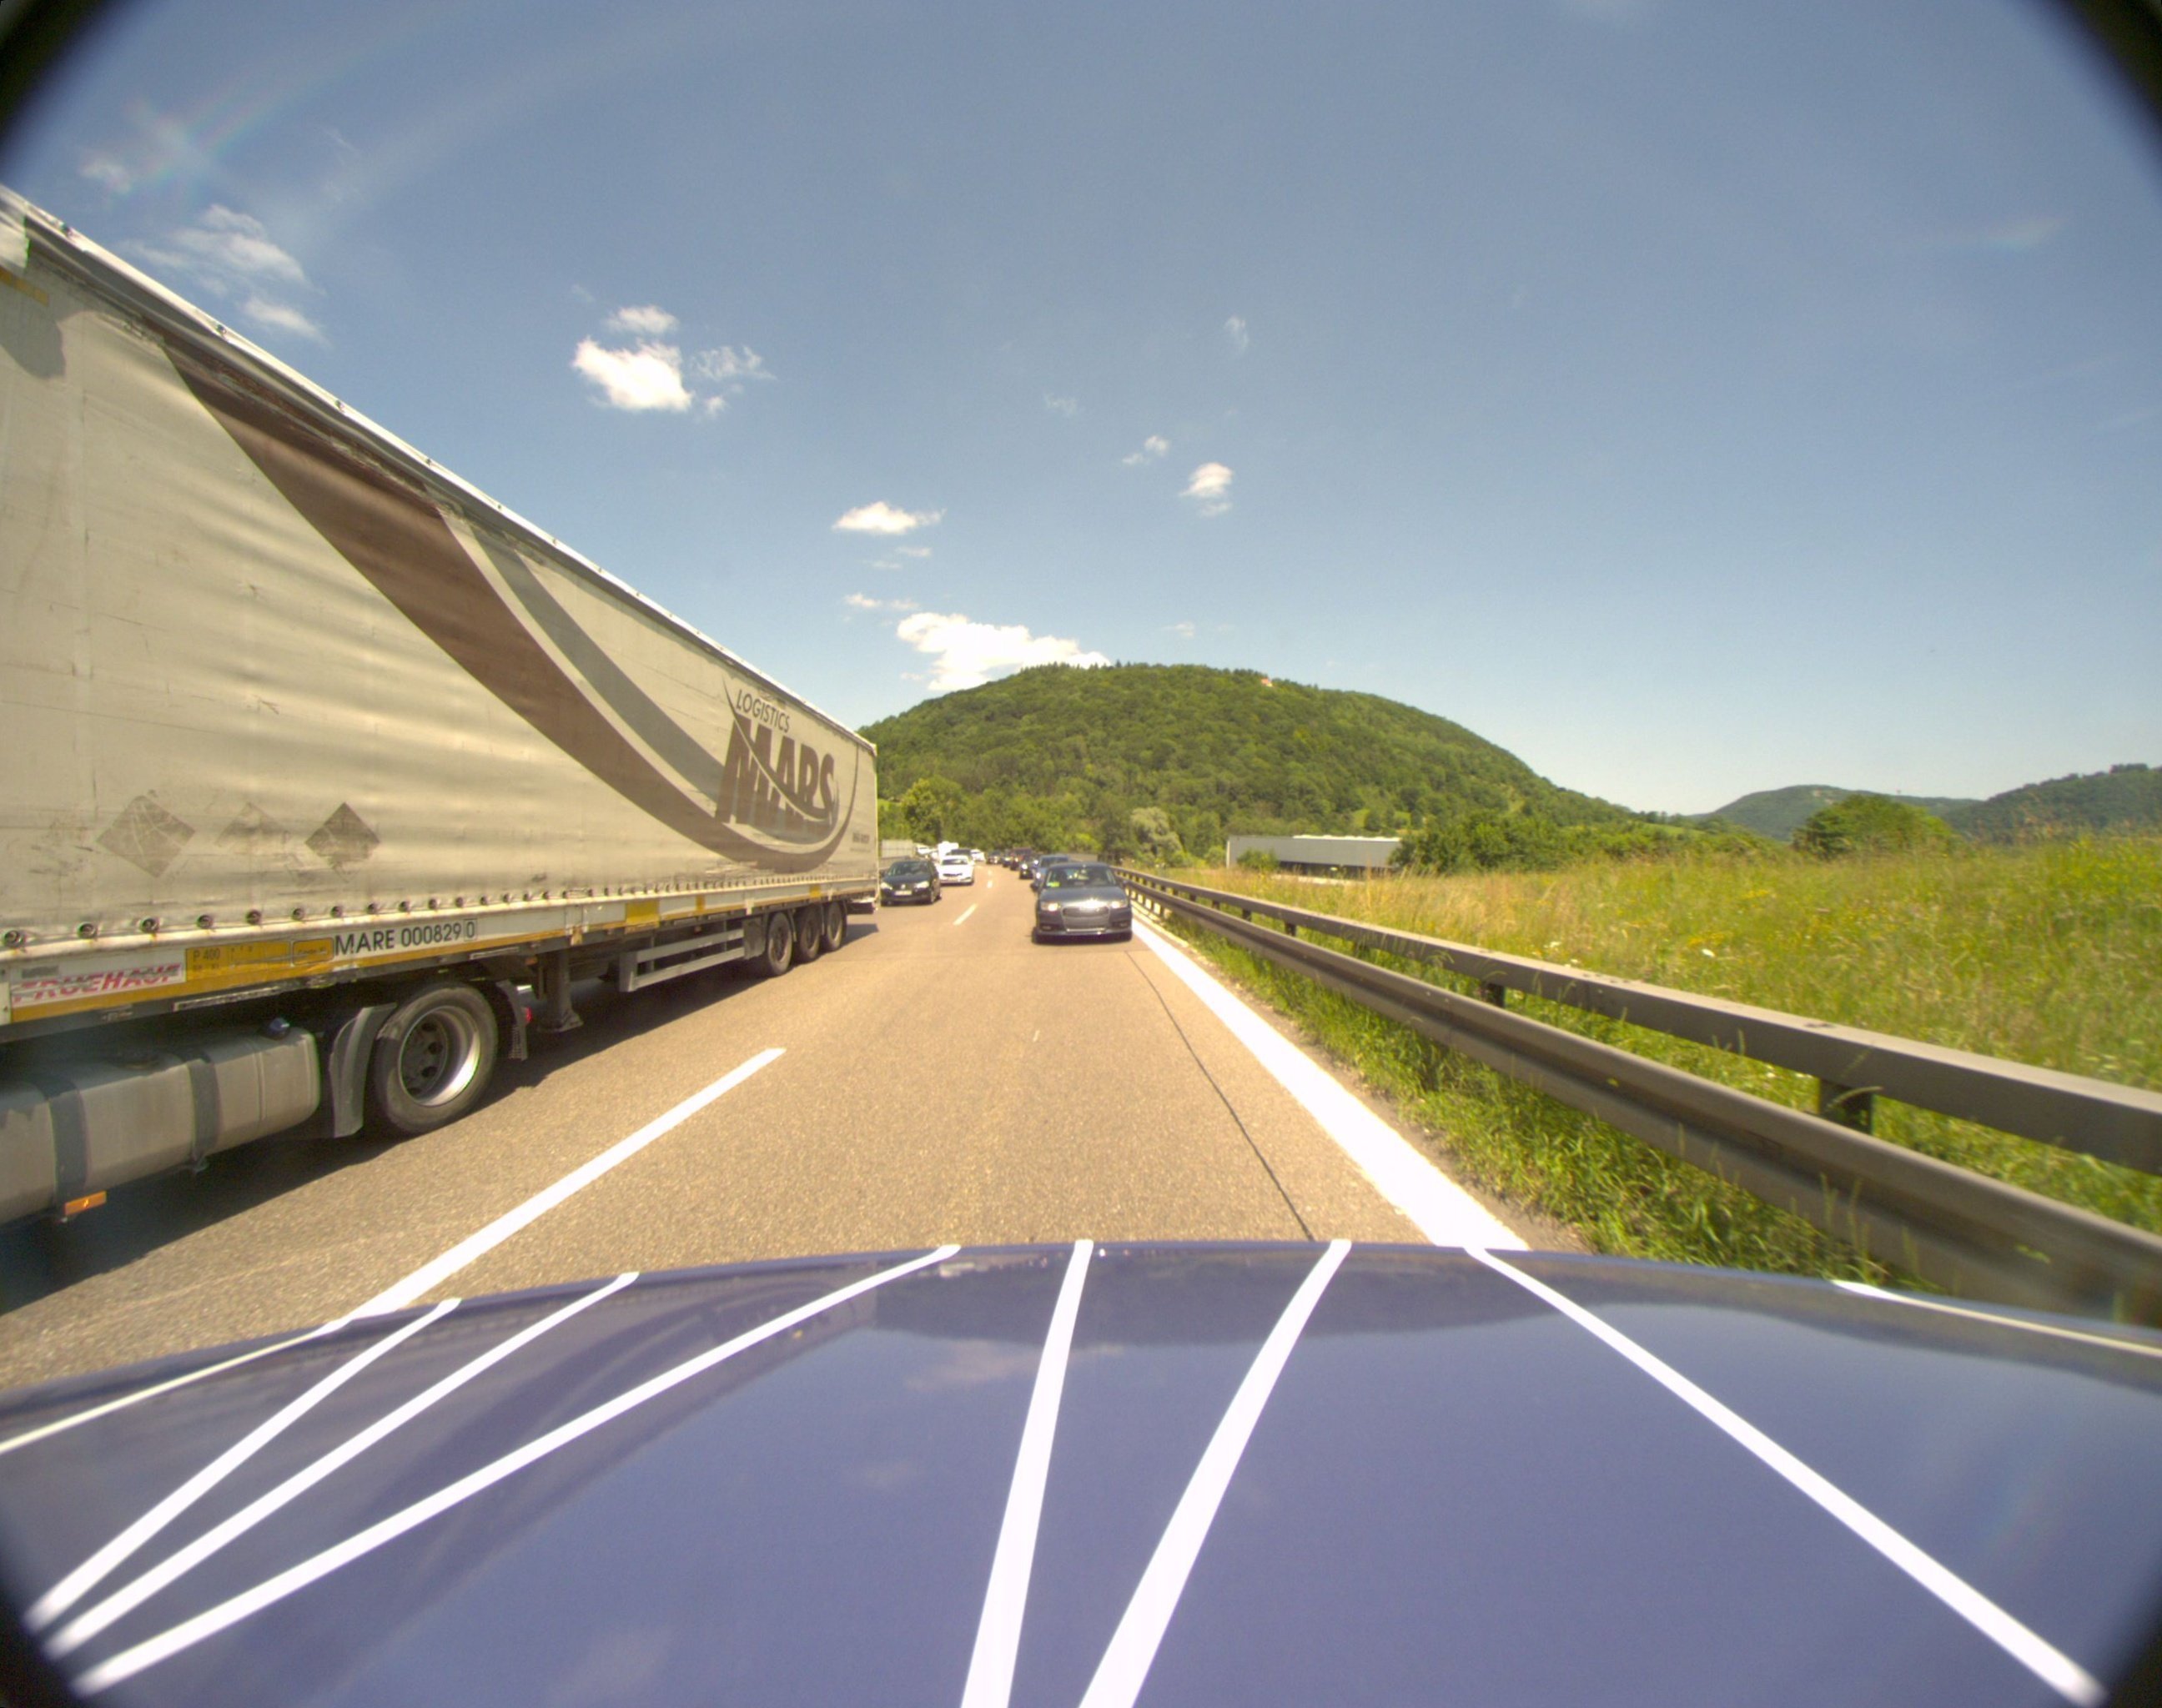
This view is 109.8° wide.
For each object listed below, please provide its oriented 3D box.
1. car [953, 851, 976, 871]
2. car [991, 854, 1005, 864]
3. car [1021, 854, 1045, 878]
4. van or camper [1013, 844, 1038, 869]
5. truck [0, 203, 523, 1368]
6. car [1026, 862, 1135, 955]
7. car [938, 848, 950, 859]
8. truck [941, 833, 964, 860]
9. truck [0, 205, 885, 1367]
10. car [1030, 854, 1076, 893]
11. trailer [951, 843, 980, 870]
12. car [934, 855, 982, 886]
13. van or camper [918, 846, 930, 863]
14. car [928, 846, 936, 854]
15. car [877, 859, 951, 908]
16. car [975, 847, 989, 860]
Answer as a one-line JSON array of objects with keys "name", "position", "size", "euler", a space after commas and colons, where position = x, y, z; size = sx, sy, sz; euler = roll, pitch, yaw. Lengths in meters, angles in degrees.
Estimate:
[{"name": "car", "position": [-8.319, 0.491, 54.461], "size": [1.489, 1.375, 3.736], "euler": [1, 0, -6]}, {"name": "car", "position": [-9.529, 0.534, 87.474], "size": [1.492, 1.102, 3.211], "euler": [-2, 1, -8]}, {"name": "car", "position": [-2.754, 0.651, 43.184], "size": [1.287, 1.305, 3.451], "euler": [-2, 0, -4]}, {"name": "van or camper", "position": [-4.330, 0.186, 59.096], "size": [1.818, 1.855, 3.612], "euler": [-2, 0, -4]}, {"name": "truck", "position": [-5.095, -0.228, 2.184], "size": [2.726, 4.044, 5.752], "euler": [-1, 1, -2]}, {"name": "car", "position": [-0.066, 0.911, 14.516], "size": [1.755, 1.382, 4.053], "euler": [-2, 1, -2]}, {"name": "car", "position": [-20.584, -0.062, 114.367], "size": [1.699, 1.523, 3.677], "euler": [-4, 0, -9]}, {"name": "truck", "position": [-16.247, -0.868, 95.653], "size": [2.604, 3.089, 6.852], "euler": [-4, 0, -10]}, {"name": "truck", "position": [-5.353, -0.293, 9.207], "size": [2.733, 4.044, 13.737], "euler": [-1, 1, -2]}, {"name": "car", "position": [-1.120, 0.721, 30.326], "size": [1.696, 1.422, 3.462], "euler": [-2, 0, -2]}, {"name": "trailer", "position": [-8.816, 0.154, 58.279], "size": [2.000, 1.958, 3.997], "euler": [2, 0, -6]}, {"name": "car", "position": [-6.101, 0.778, 38.102], "size": [1.908, 1.422, 3.721], "euler": [-2, 0, -2]}, {"name": "van or camper", "position": [-27.347, 0.079, 132.486], "size": [1.911, 3.010, 4.869], "euler": [-1, 0, -12]}, {"name": "car", "position": [-29.292, -0.848, 149.145], "size": [1.246, 1.470, 2.958], "euler": [-4, 0, -9]}, {"name": "car", "position": [-5.453, 0.919, 25.206], "size": [1.696, 1.414, 3.837], "euler": [-2, 0, -2]}, {"name": "car", "position": [-13.459, -0.095, 103.618], "size": [1.532, 1.627, 3.415], "euler": [-4, 0, -12]}]
